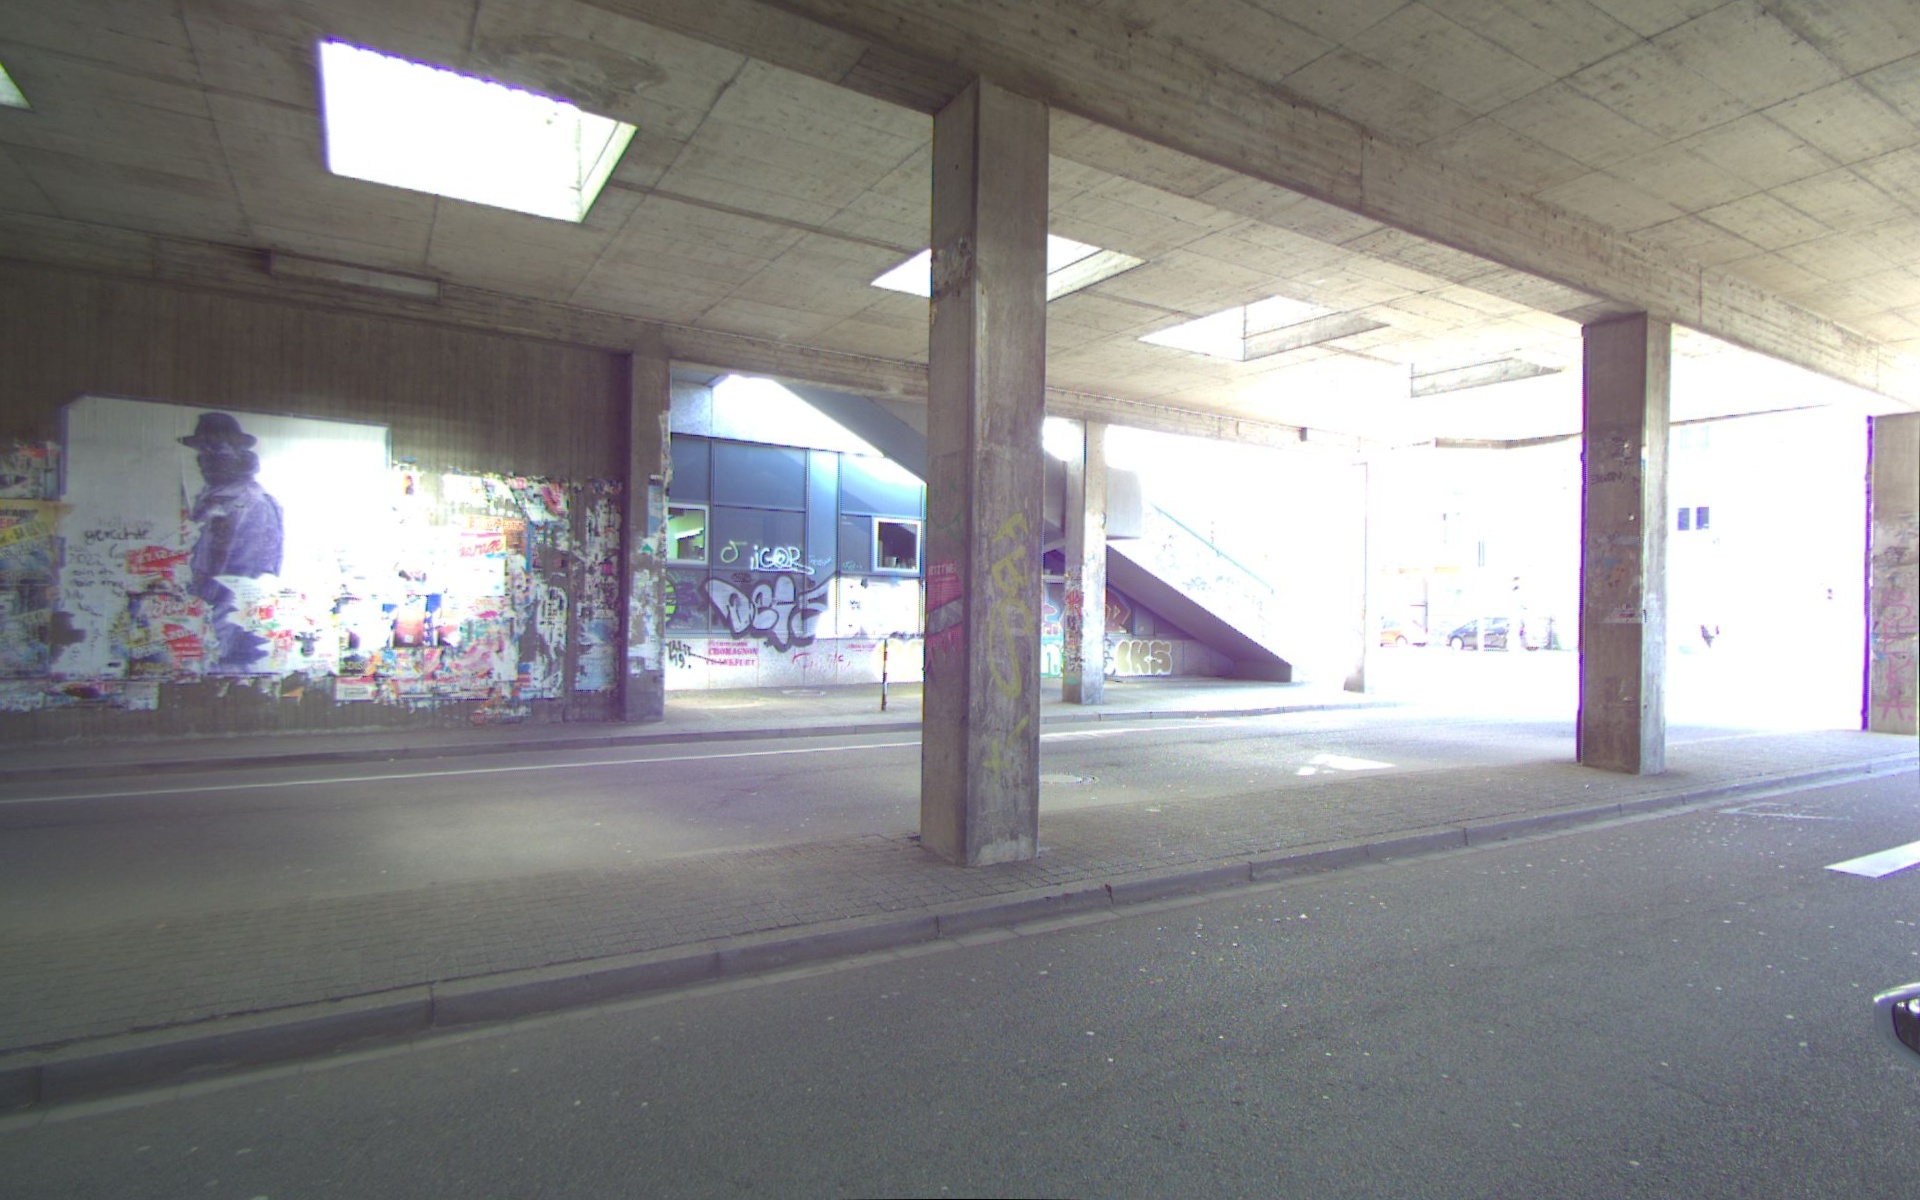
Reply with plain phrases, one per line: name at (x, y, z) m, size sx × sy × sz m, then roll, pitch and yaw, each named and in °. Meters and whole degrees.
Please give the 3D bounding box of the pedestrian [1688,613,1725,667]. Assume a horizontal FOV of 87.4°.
pedestrian at (23.626, 1.257, 31.797) m, size 0.732 × 1.659 × 0.669 m, roll 2°, pitch 0°, yaw -30°

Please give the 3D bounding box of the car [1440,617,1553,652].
car at (25.440, 1.620, 47.774) m, size 1.905 × 1.428 × 4.382 m, roll 2°, pitch 0°, yaw -32°

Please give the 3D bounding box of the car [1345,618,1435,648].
car at (22.489, 1.707, 52.662) m, size 1.905 × 1.428 × 3.965 m, roll 2°, pitch 0°, yaw -32°
